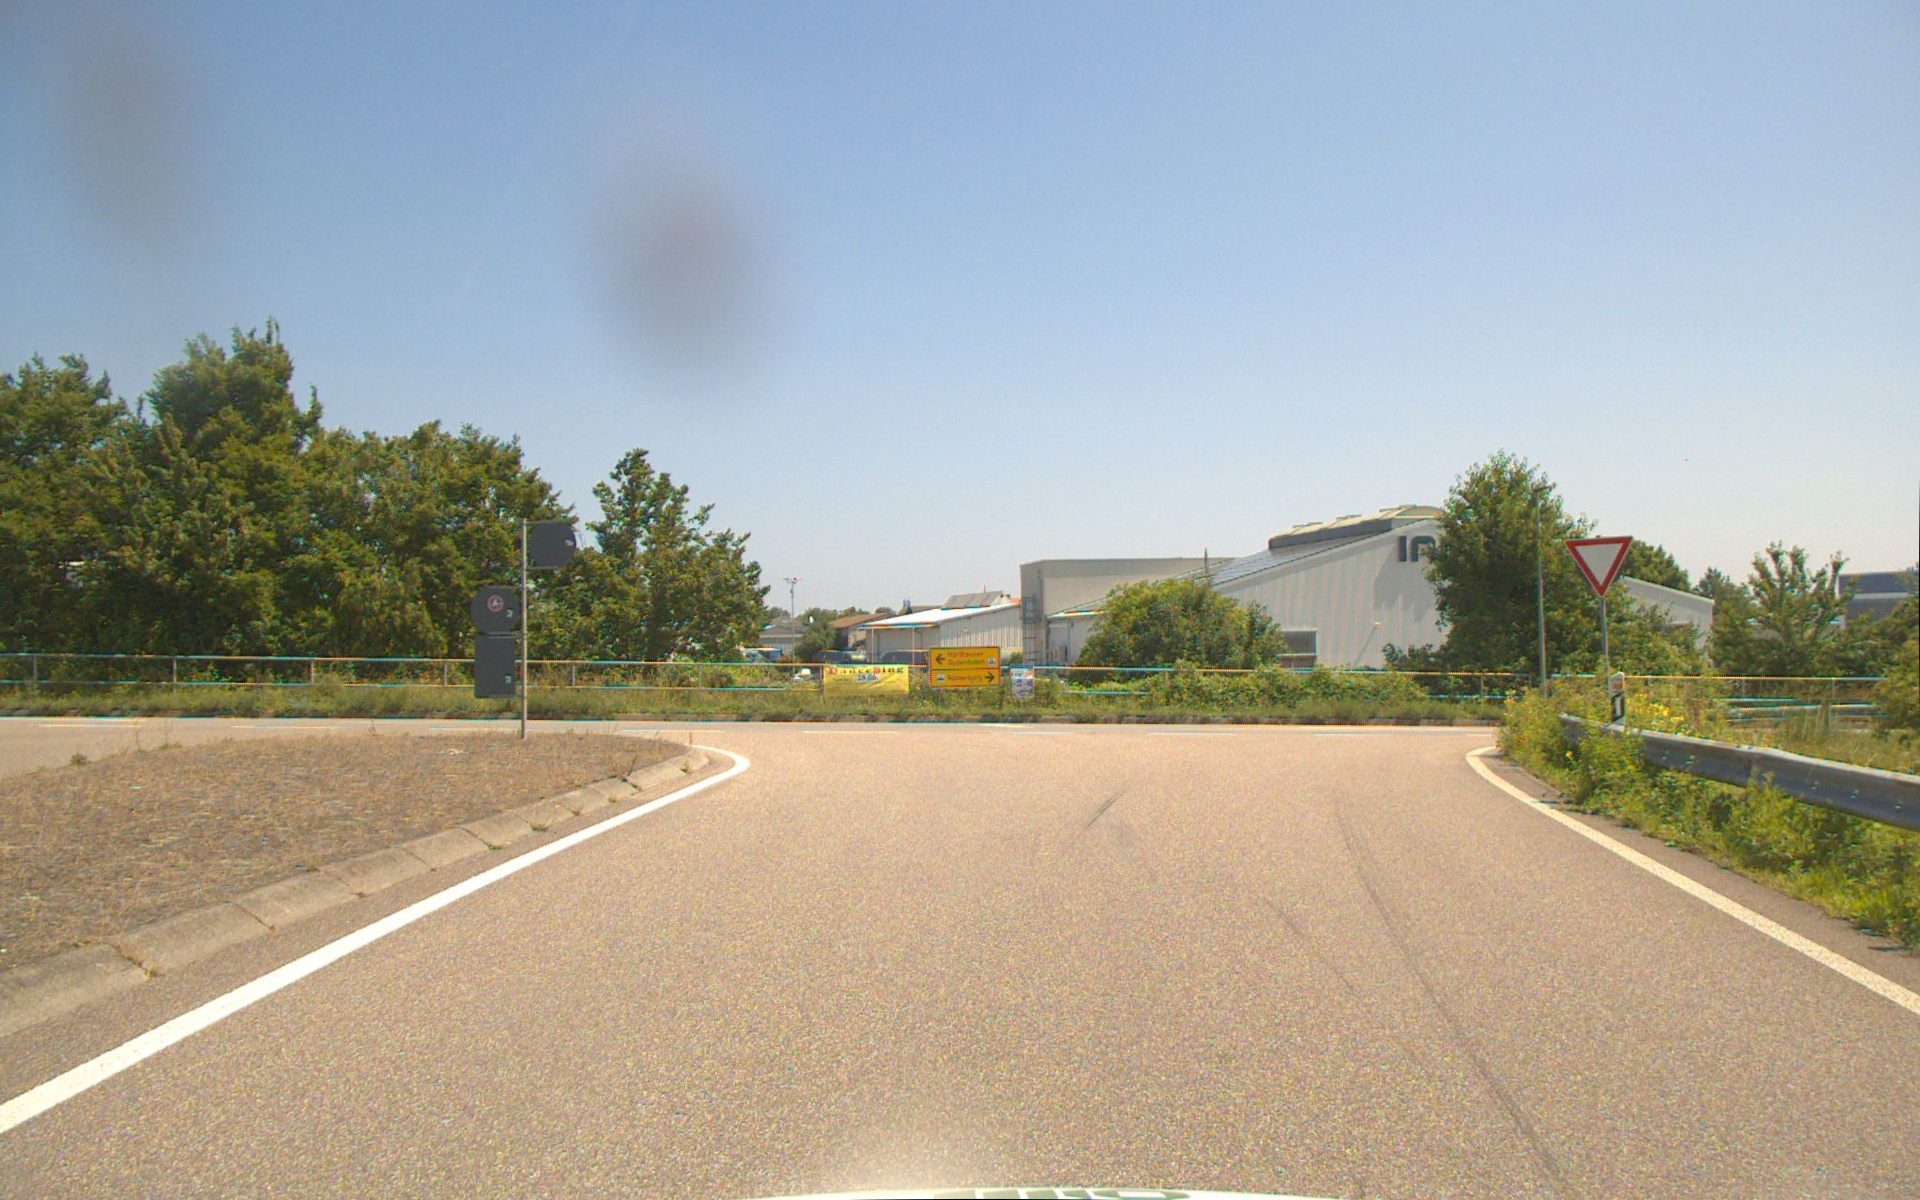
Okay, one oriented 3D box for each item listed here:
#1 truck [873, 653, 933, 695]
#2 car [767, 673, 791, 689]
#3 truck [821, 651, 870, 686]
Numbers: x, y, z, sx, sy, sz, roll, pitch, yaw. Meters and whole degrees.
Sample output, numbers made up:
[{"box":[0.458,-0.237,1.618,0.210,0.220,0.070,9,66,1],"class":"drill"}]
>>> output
[{"box":[-6.234,7.879,177.409,3.646,4.387,13.288,1,-2,-14],"class":"truck"},{"box":[-21.279,9.555,194.631,1.962,1.761,4.840,1,-2,-17],"class":"car"},{"box":[-14.673,8.705,210.763,3.356,4.387,14.528,1,-2,-15],"class":"truck"}]
